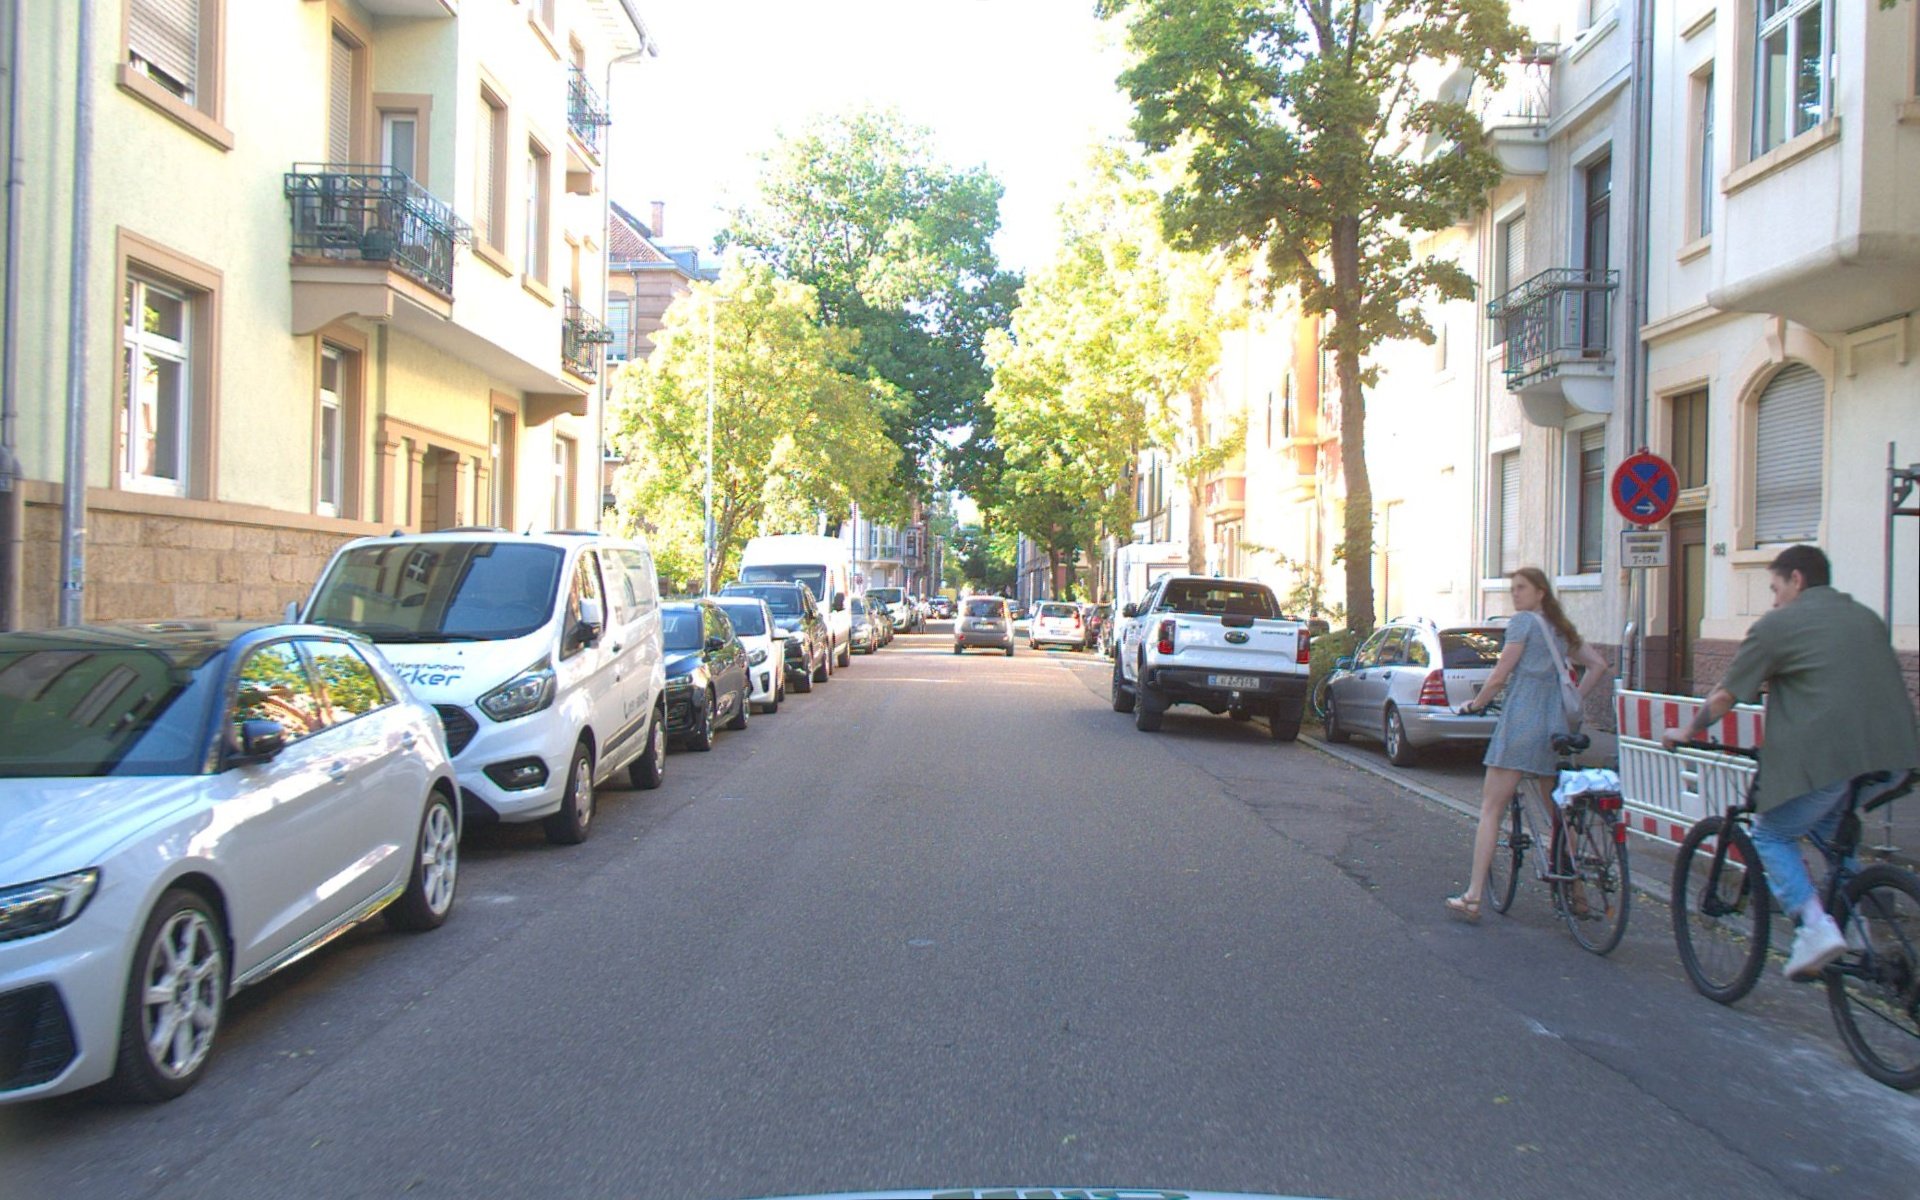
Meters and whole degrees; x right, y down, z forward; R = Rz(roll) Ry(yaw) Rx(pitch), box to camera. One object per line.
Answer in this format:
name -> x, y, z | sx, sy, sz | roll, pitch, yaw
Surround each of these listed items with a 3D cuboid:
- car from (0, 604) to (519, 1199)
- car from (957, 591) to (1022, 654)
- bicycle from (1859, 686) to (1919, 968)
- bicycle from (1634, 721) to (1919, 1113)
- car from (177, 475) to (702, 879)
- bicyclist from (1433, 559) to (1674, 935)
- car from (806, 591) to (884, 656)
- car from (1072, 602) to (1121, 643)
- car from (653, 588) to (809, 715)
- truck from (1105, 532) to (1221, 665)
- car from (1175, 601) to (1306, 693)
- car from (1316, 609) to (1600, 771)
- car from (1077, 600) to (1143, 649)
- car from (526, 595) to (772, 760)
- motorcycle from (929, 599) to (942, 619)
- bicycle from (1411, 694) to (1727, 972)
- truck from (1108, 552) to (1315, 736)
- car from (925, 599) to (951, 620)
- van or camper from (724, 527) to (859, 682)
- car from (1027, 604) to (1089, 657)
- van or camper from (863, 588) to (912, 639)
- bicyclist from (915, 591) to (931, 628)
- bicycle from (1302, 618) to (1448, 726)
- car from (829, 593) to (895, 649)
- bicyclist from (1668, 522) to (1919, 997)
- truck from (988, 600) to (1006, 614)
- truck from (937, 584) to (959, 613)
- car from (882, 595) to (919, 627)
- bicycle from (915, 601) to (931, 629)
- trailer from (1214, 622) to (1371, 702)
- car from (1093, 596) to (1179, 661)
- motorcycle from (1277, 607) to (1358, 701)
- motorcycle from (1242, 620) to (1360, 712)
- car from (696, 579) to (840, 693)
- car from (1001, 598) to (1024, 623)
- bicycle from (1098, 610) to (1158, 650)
car -> -3.146, 0.785, 6.262 | 1.796, 1.488, 4.362 | -1, 0, -1
car -> 0.753, 0.575, 44.236 | 1.599, 1.577, 3.263 | 1, 0, -1
bicycle -> 5.038, 0.994, 7.076 | 1.934, 1.141, 0.748 | 2, 0, 11
bicycle -> 3.250, 1.052, 5.991 | 0.724, 1.078, 1.856 | 2, -1, -4
car -> -3.322, 0.430, 11.902 | 2.206, 2.206, 5.241 | -1, 0, -2
bicyclist -> 2.921, 0.688, 8.225 | 0.701, 1.718, 0.980 | 4, 0, -5
car -> -3.032, 0.586, 44.396 | 1.744, 1.618, 4.468 | -1, 0, 0
car -> 5.110, 0.823, 62.300 | 1.564, 1.514, 3.748 | 0, 0, 0
car -> -3.043, 0.660, 22.710 | 1.602, 1.579, 4.088 | 0, -1, -1
truck -> 4.965, -0.046, 41.267 | 2.031, 3.020, 6.108 | -1, 0, -1
car -> 5.087, 0.795, 30.517 | 1.714, 1.556, 4.782 | 0, 0, 1
car -> 5.060, 0.838, 17.430 | 1.645, 1.447, 4.430 | 0, 0, 0
car -> 5.041, 0.801, 56.078 | 1.750, 1.540, 4.459 | 2, 0, -1
car -> -3.193, 0.722, 17.953 | 1.730, 1.548, 4.825 | 0, 0, 0
motorcycle -> -1.809, 0.650, 120.597 | 0.683, 1.486, 1.747 | 0, 0, -9
bicycle -> 2.919, 1.073, 8.154 | 0.692, 1.063, 1.856 | 4, 0, -4
truck -> 3.036, 0.480, 21.100 | 1.791, 1.983, 5.541 | 2, 0, 0
car -> -1.653, 0.671, 123.894 | 1.760, 1.457, 3.925 | -2, 0, 1
van or camper -> -3.300, 0.079, 33.551 | 2.085, 2.817, 5.851 | -1, 0, 0
car -> 3.090, 0.938, 52.758 | 1.645, 1.571, 3.800 | 2, 0, -1
van or camper -> -3.082, 0.564, 71.432 | 1.882, 2.014, 5.461 | -2, 0, -1
bicyclist -> -1.541, 0.393, 68.934 | 0.638, 1.535, 0.624 | 1, 0, -1
bicycle -> 5.343, 0.921, 21.360 | 1.723, 1.328, 0.586 | 1, 0, -2
car -> -2.957, 0.614, 50.601 | 1.641, 1.600, 4.152 | -2, 0, 1
bicyclist -> 3.241, 0.546, 6.096 | 0.740, 1.592, 0.980 | 2, 0, -5
truck -> 4.123, 0.736, 184.815 | 1.952, 1.482, 4.000 | 1, 0, 0
truck -> -1.279, -0.132, 176.514 | 2.028, 2.977, 5.068 | -3, 0, 1
car -> -3.133, 0.561, 87.254 | 1.788, 1.581, 4.132 | -3, 0, -2
bicycle -> -1.543, 0.614, 68.831 | 0.651, 1.096, 1.685 | 1, 0, -1
trailer -> 5.016, 0.932, 25.023 | 2.045, 1.131, 1.112 | 2, 0, -14
car -> 5.006, 0.773, 47.676 | 1.847, 1.746, 4.943 | 1, 0, -1
motorcycle -> 5.799, 0.847, 26.968 | 0.843, 1.441, 2.234 | 2, 0, 1
motorcycle -> 4.894, 0.933, 23.676 | 1.747, 1.262, 0.692 | 2, 0, -39
car -> -3.114, 0.543, 27.781 | 1.837, 1.715, 4.969 | -1, 0, 0
car -> 3.861, 0.770, 121.415 | 1.628, 1.698, 3.757 | 2, 0, 1
bicycle -> 5.224, 0.932, 51.535 | 1.774, 1.187, 0.569 | -1, 0, -1
